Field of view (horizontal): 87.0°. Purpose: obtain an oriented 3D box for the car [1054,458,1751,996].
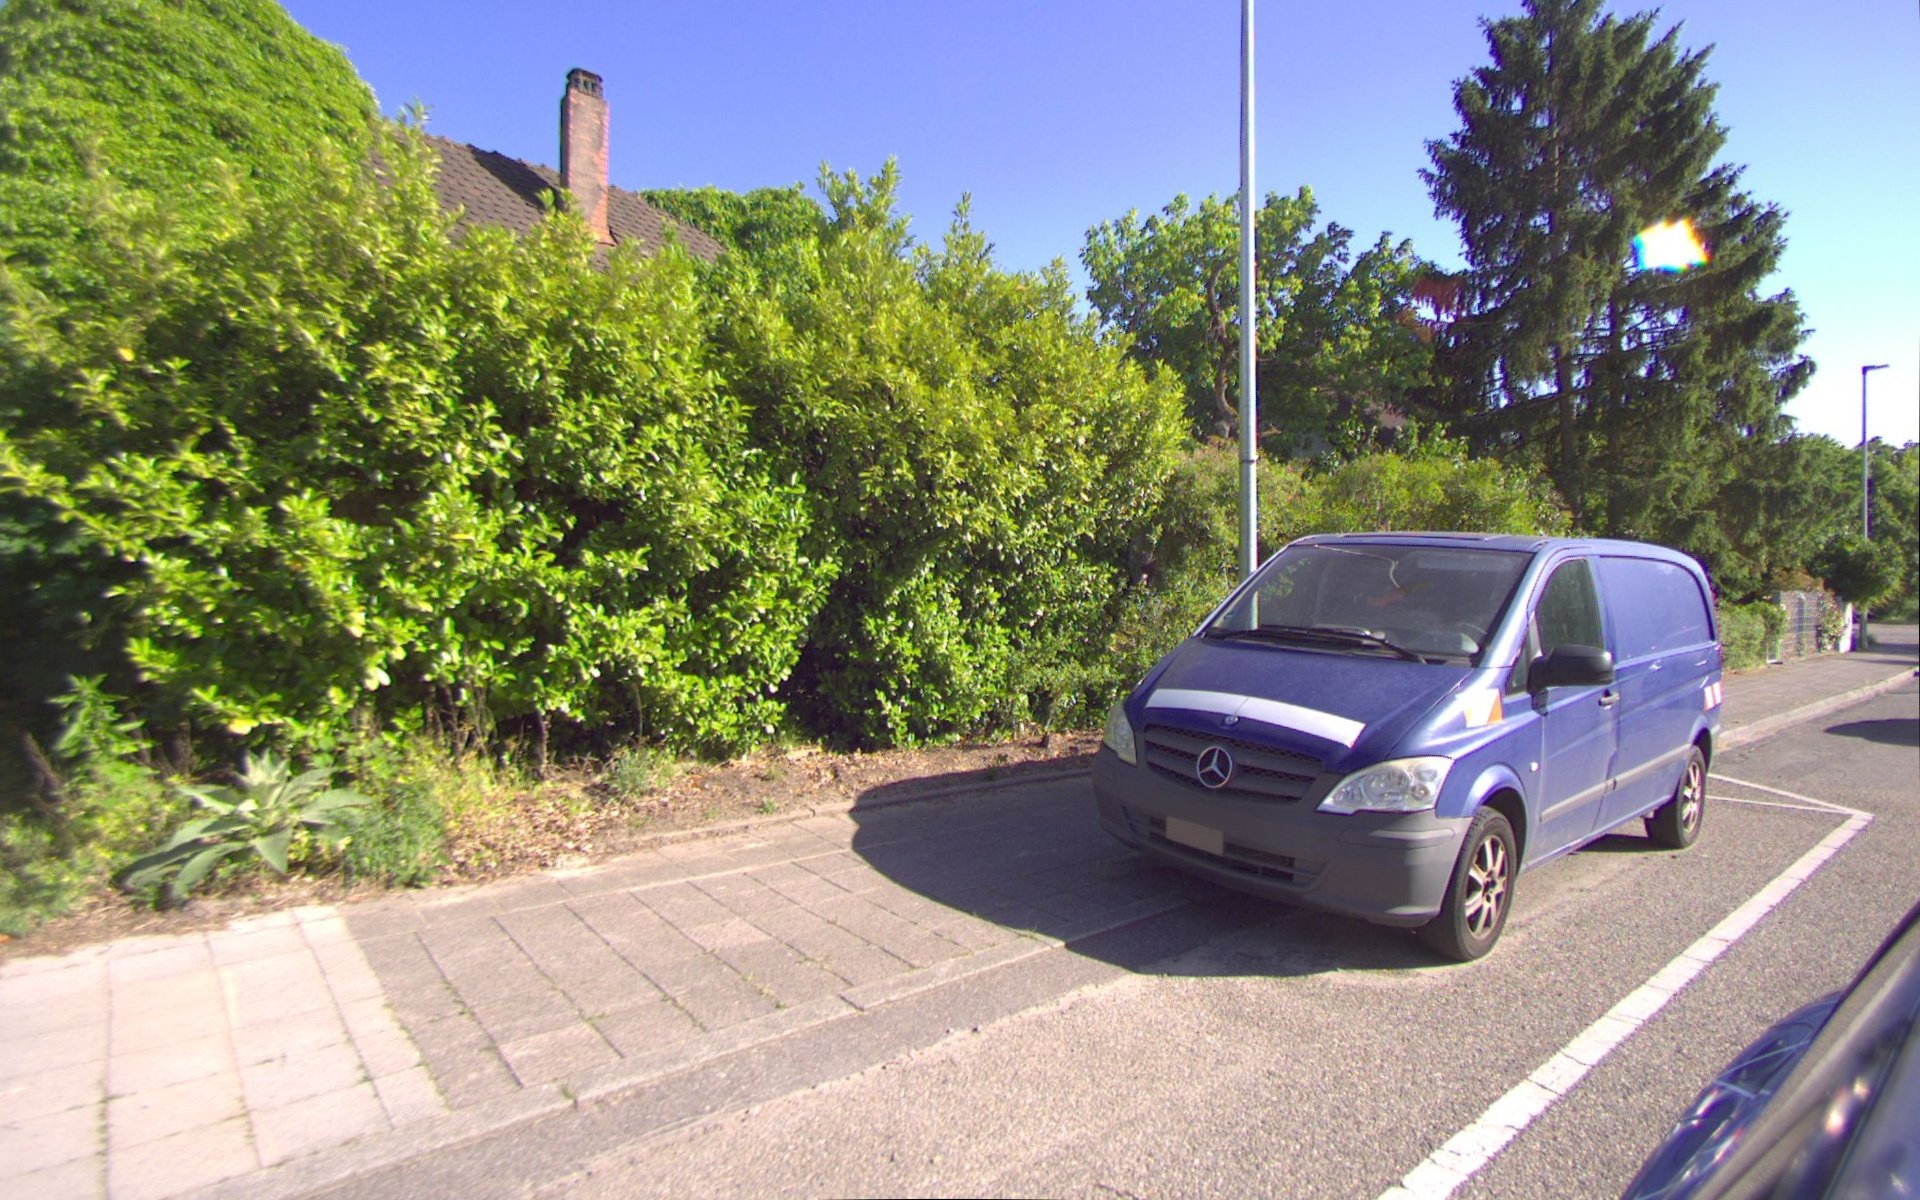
[{"bbox_3d":[2.826,0.438,5.842,4.615,1.931,1.840,0,1,-41],"label":"car"}]
